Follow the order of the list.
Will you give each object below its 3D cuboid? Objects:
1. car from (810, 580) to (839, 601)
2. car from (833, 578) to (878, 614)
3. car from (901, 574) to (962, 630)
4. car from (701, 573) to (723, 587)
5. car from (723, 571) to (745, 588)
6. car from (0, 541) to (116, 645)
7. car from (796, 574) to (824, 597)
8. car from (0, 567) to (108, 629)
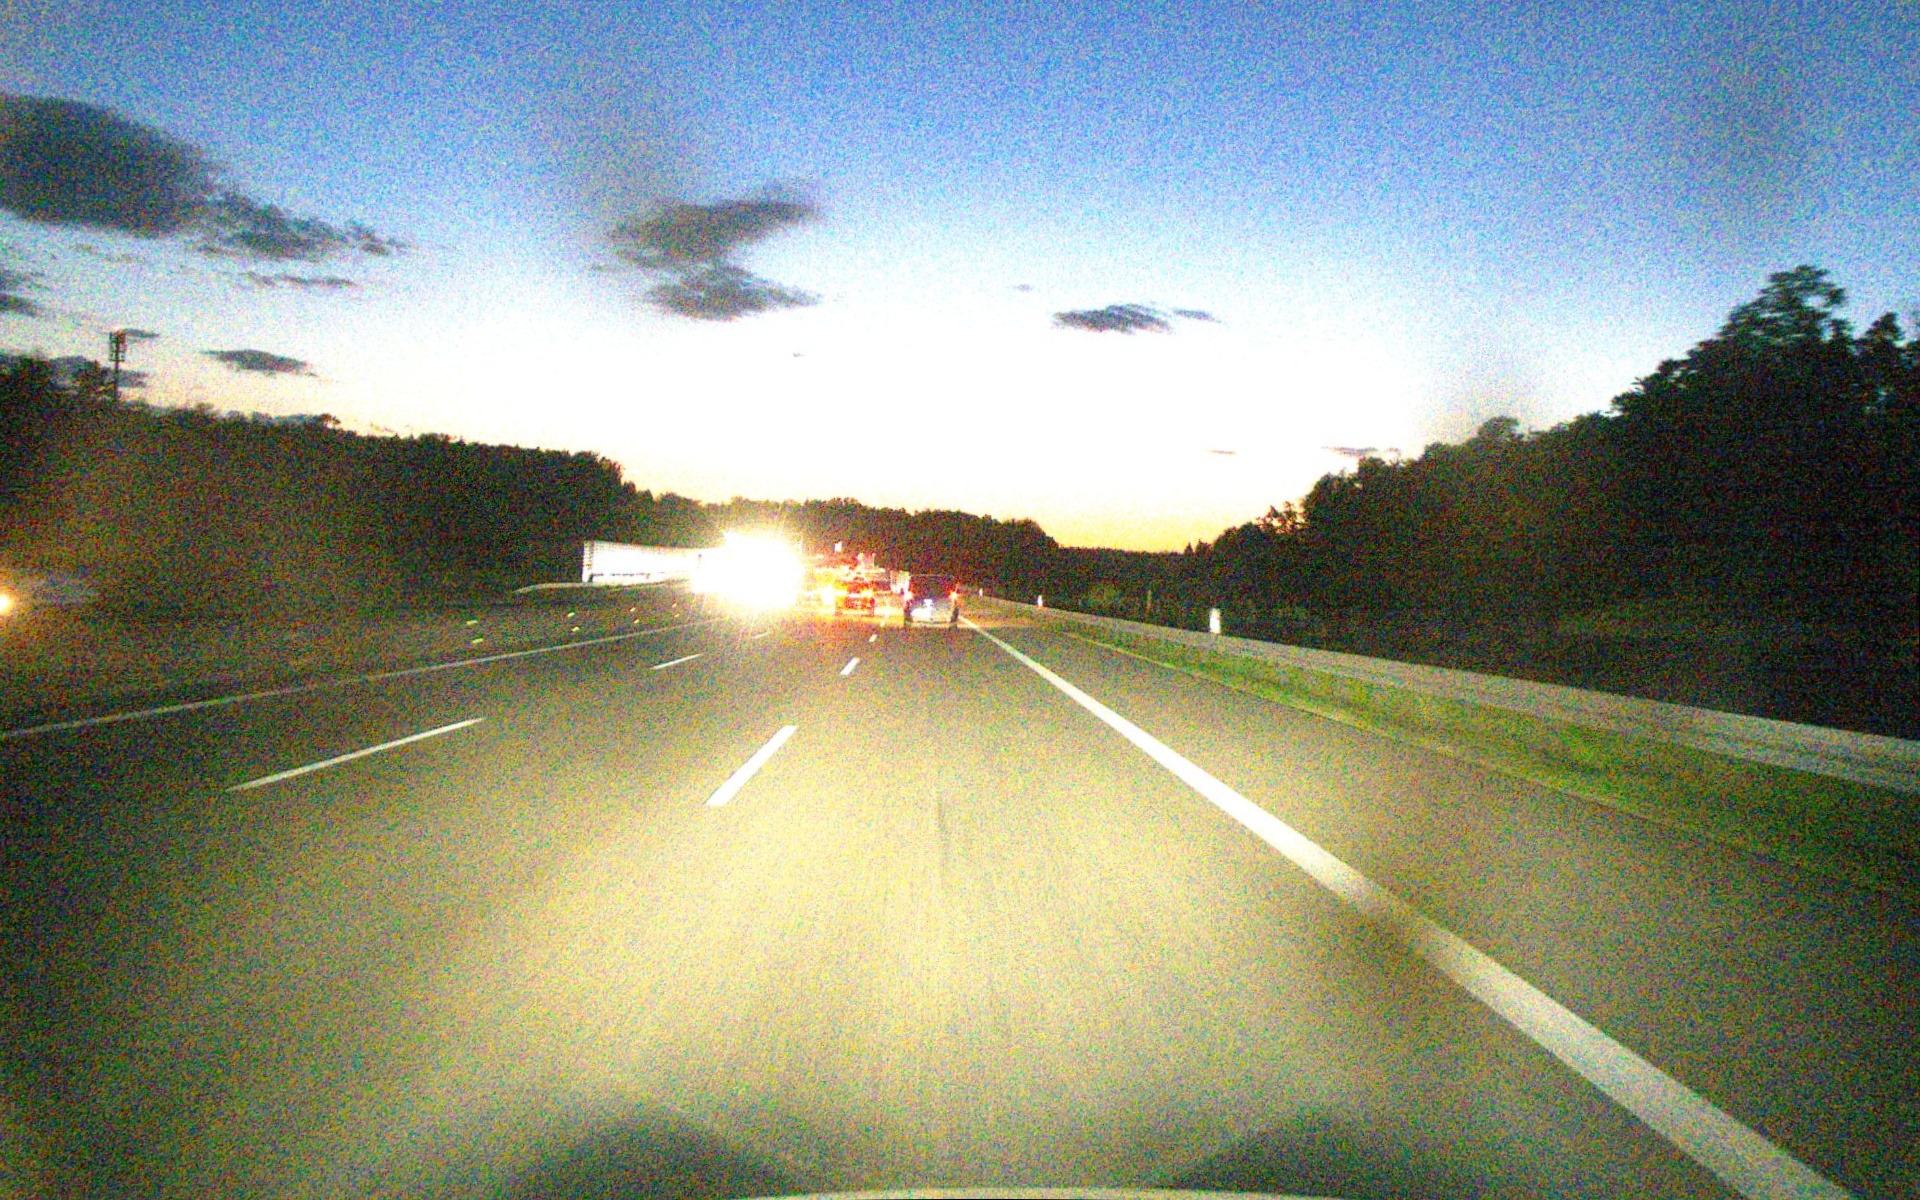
[{"bbox_3d":[-10.452,-0.766,127.631,1.743,1.512,5.253,2,1,0],"label":"car"},{"bbox_3d":[-5.183,-0.176,82.655,1.953,1.751,5.941,0,0,-1],"label":"car"},{"bbox_3d":[-1.069,0.037,60.950,2.152,1.989,4.762,0,1,-2],"label":"car"},{"bbox_3d":[-30.770,-2.470,205.618,2.062,1.717,5.384,1,0,-2],"label":"car"},{"bbox_3d":[-26.449,-2.399,193.380,2.062,1.820,4.657,1,0,-2],"label":"car"},{"bbox_3d":[-18.870,-0.156,32.601,2.061,1.918,4.658,1,0,0],"label":"car"},{"bbox_3d":[-10.431,-0.984,115.251,1.518,1.456,5.512,1,0,-1],"label":"car"},{"bbox_3d":[-23.228,-0.074,41.024,1.738,1.454,4.658,1,0,0],"label":"car"}]
